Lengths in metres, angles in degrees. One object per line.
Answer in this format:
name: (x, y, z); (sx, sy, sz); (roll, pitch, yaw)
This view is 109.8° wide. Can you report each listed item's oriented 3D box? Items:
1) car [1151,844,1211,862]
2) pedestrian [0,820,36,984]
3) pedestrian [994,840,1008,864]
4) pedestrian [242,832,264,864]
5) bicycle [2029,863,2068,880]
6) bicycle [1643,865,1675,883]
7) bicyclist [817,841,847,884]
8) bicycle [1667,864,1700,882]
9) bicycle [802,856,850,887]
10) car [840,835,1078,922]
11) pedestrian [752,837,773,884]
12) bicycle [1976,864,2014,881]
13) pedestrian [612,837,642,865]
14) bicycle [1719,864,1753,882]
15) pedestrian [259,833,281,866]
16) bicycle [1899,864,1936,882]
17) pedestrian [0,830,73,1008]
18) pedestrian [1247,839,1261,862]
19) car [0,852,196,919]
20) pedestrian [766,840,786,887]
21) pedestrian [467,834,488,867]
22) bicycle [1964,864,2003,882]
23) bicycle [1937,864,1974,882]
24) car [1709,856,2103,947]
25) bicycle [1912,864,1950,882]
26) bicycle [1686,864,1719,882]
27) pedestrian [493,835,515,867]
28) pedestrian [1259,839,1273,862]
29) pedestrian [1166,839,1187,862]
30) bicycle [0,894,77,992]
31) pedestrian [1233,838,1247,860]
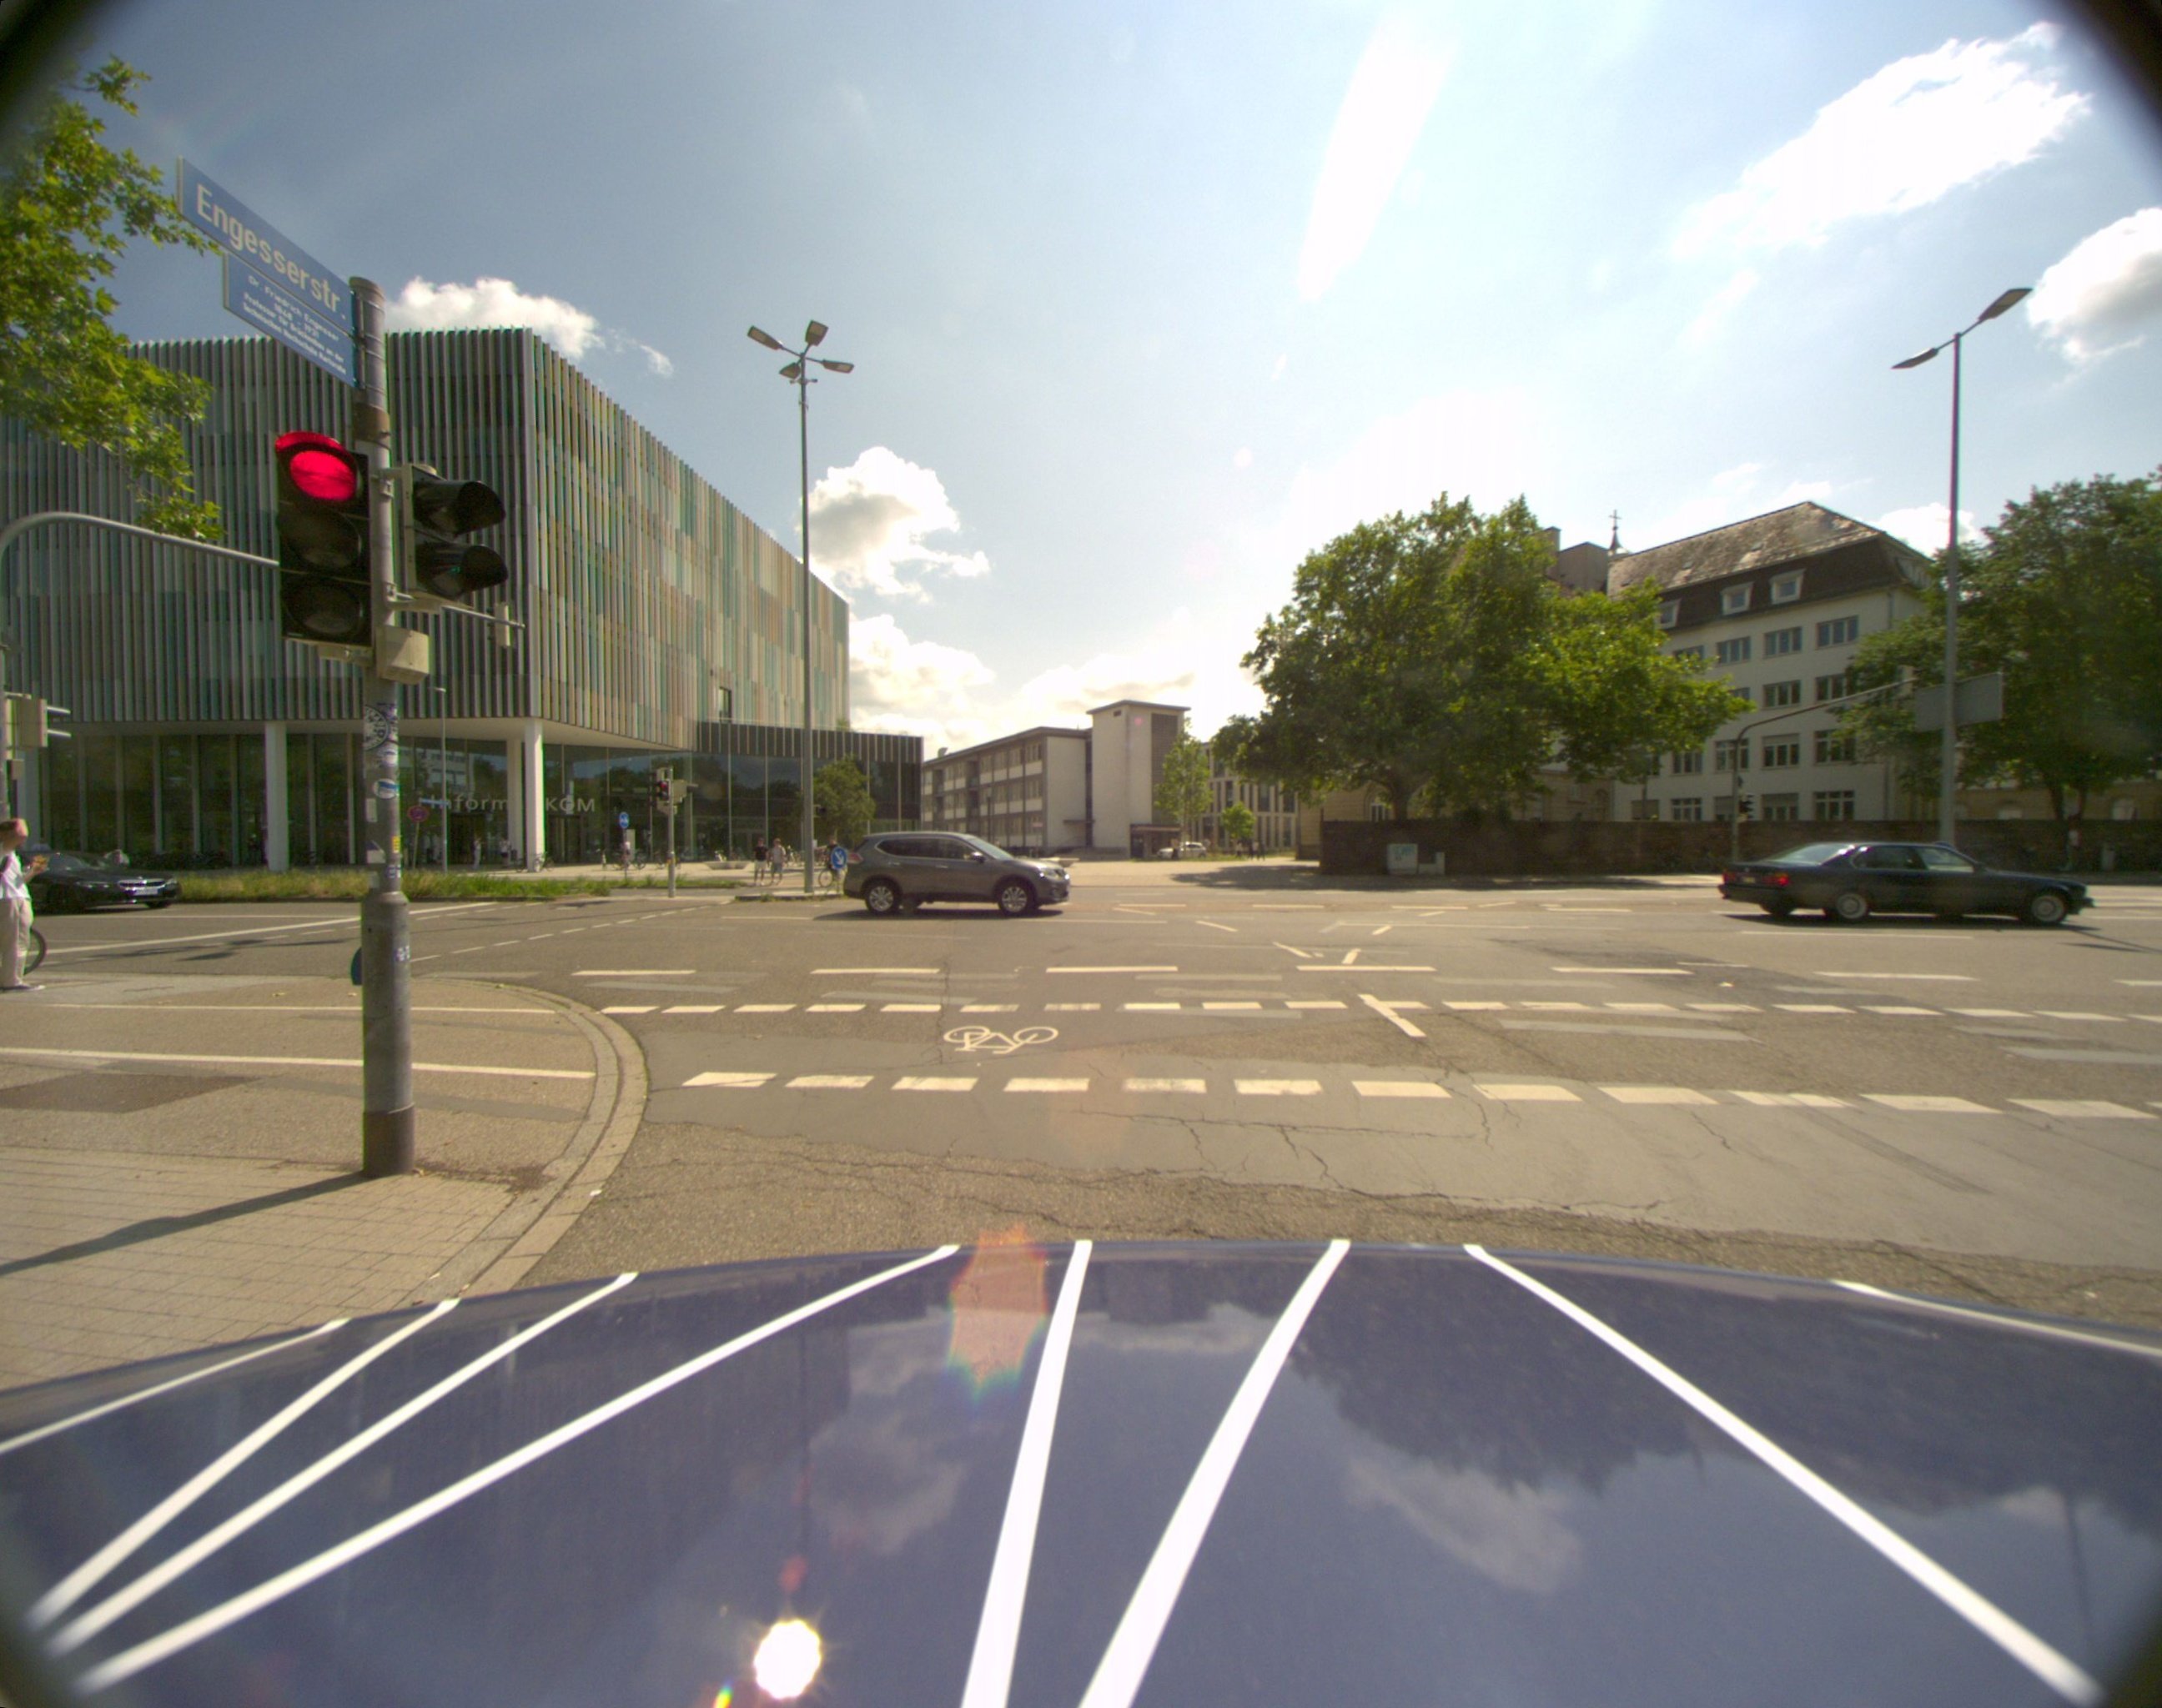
car: (8.041, -0.084, 61.016); (4.500, 1.299, 1.995); (-1, 3, -28)
pedestrian: (-12.401, 0.495, 8.045); (0.855, 1.808, 1.177); (3, -3, 3)
pedestrian: (-5.965, -0.157, 56.549); (0.845, 1.780, 0.676); (-1, 1, -26)
pedestrian: (-47.708, -0.372, 43.783); (0.554, 1.832, 0.562); (0, 2, -4)
bicycle: (42.215, 0.775, 33.169); (0.409, 0.678, 1.004); (-2, 3, -35)
bicycle: (24.445, 0.828, 32.159); (0.409, 0.678, 1.005); (-1, 3, -22)
bicyclist: (-9.593, 0.317, 29.255); (1.001, 1.606, 0.656); (-1, 2, -25)
bicycle: (25.604, 0.801, 32.300); (0.409, 0.678, 1.005); (-1, 3, -22)
bicycle: (-9.793, 0.663, 29.172); (1.673, 1.118, 0.694); (-1, 2, -25)
car: (-2.417, 0.442, 15.631); (4.472, 1.669, 1.826); (0, 2, 8)
pedestrian: (-12.362, 0.245, 29.489); (0.633, 1.832, 0.479); (0, 2, -11)
bicycle: (39.674, 0.796, 32.984); (0.409, 0.678, 1.004); (-2, 3, -35)
pedestrian: (-26.787, -0.179, 44.885); (1.014, 1.641, 1.183); (0, 1, 4)
bicycle: (27.879, 0.806, 32.338); (0.409, 0.678, 1.005); (-1, 3, -22)
pedestrian: (-46.108, -0.270, 43.198); (0.554, 1.832, 0.562); (0, 2, -4)
bicycle: (35.987, 0.812, 32.701); (0.409, 0.678, 1.004); (-2, 3, -35)
pedestrian: (-11.122, 0.657, 7.860); (0.595, 1.790, 0.611); (0, -1, 10)
pedestrian: (13.746, -0.297, 60.366); (0.890, 1.780, 0.845); (0, 1, 27)
car: (-23.593, 0.683, 17.840); (4.183, 1.408, 1.832); (0, 2, 12)
pedestrian: (-11.885, 0.373, 29.644); (0.575, 1.832, 0.415); (0, 2, -2)
pedestrian: (-33.780, -0.184, 42.544); (0.516, 1.832, 0.790); (2, 3, 39)
bicycle: (38.912, 0.818, 32.758); (0.409, 0.678, 1.004); (-2, 3, -35)
bicycle: (37.616, 0.817, 32.687); (0.409, 0.678, 1.004); (-2, 3, -35)
car: (14.184, 0.768, 13.358); (4.607, 1.379, 1.698); (1, 1, 9)
bicycle: (36.610, 0.813, 32.732); (0.409, 0.678, 1.004); (-2, 3, -35)
bicycle: (26.487, 0.799, 32.406); (0.409, 0.678, 1.005); (-1, 3, -22)
pedestrian: (-33.045, -0.185, 43.507); (0.677, 1.832, 0.691); (1, 2, 11)
pedestrian: (14.623, -0.254, 60.035); (0.863, 1.780, 0.845); (0, 1, 26)
pedestrian: (6.992, -0.274, 55.513); (1.297, 1.641, 1.327); (0, 1, 16)
bicycle: (-12.404, 0.975, 8.088); (0.817, 1.066, 1.892); (1, -2, 4)
pedestrian: (12.834, -0.430, 61.378); (0.812, 1.780, 0.845); (1, 1, 33)
